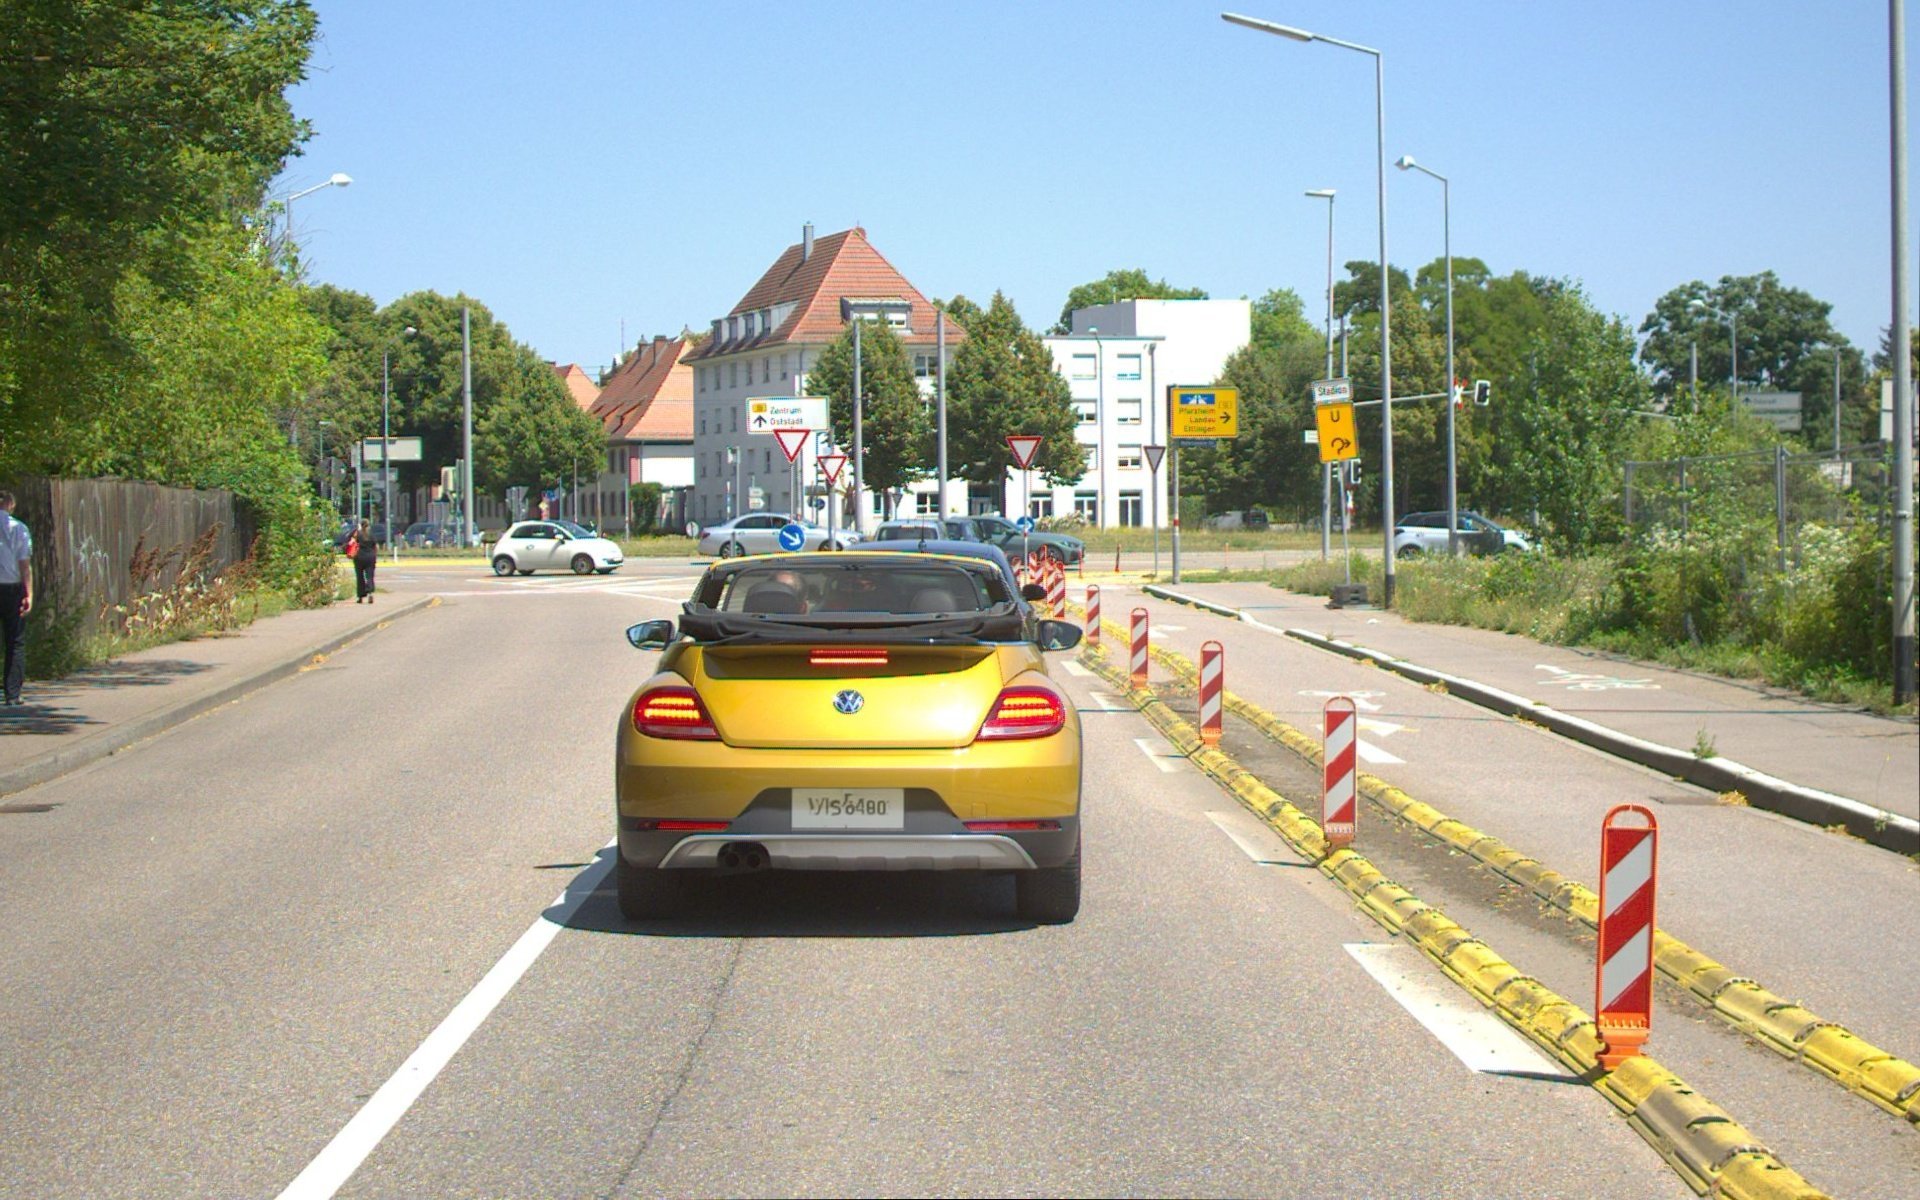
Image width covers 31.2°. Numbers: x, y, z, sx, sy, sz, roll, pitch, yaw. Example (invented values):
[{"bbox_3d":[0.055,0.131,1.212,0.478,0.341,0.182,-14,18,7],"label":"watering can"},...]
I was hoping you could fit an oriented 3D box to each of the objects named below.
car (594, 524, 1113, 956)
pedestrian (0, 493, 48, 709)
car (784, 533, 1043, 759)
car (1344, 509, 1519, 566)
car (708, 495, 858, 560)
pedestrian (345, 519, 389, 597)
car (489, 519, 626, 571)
[{"bbox_3d":[-0.449,0.451,14.030,1.790,1.431,3.814,-2,2,-2],"label":"car"},{"bbox_3d":[-7.872,0.000,27.886,0.722,1.719,0.818,-2,2,-5],"label":"pedestrian"},{"bbox_3d":[-0.332,0.275,25.463,1.726,1.438,4.001,-2,2,0],"label":"car"},{"bbox_3d":[12.234,-1.634,89.413,4.441,1.353,1.537,-1,2,7],"label":"car"},{"bbox_3d":[-5.120,-2.107,99.637,4.074,1.738,1.566,-1,2,8],"label":"car"},{"bbox_3d":[-11.300,-0.805,65.519,0.722,1.449,0.818,-2,2,-5],"label":"pedestrian"},{"bbox_3d":[-10.845,-1.488,92.654,3.438,1.271,1.202,-1,2,9],"label":"car"}]
